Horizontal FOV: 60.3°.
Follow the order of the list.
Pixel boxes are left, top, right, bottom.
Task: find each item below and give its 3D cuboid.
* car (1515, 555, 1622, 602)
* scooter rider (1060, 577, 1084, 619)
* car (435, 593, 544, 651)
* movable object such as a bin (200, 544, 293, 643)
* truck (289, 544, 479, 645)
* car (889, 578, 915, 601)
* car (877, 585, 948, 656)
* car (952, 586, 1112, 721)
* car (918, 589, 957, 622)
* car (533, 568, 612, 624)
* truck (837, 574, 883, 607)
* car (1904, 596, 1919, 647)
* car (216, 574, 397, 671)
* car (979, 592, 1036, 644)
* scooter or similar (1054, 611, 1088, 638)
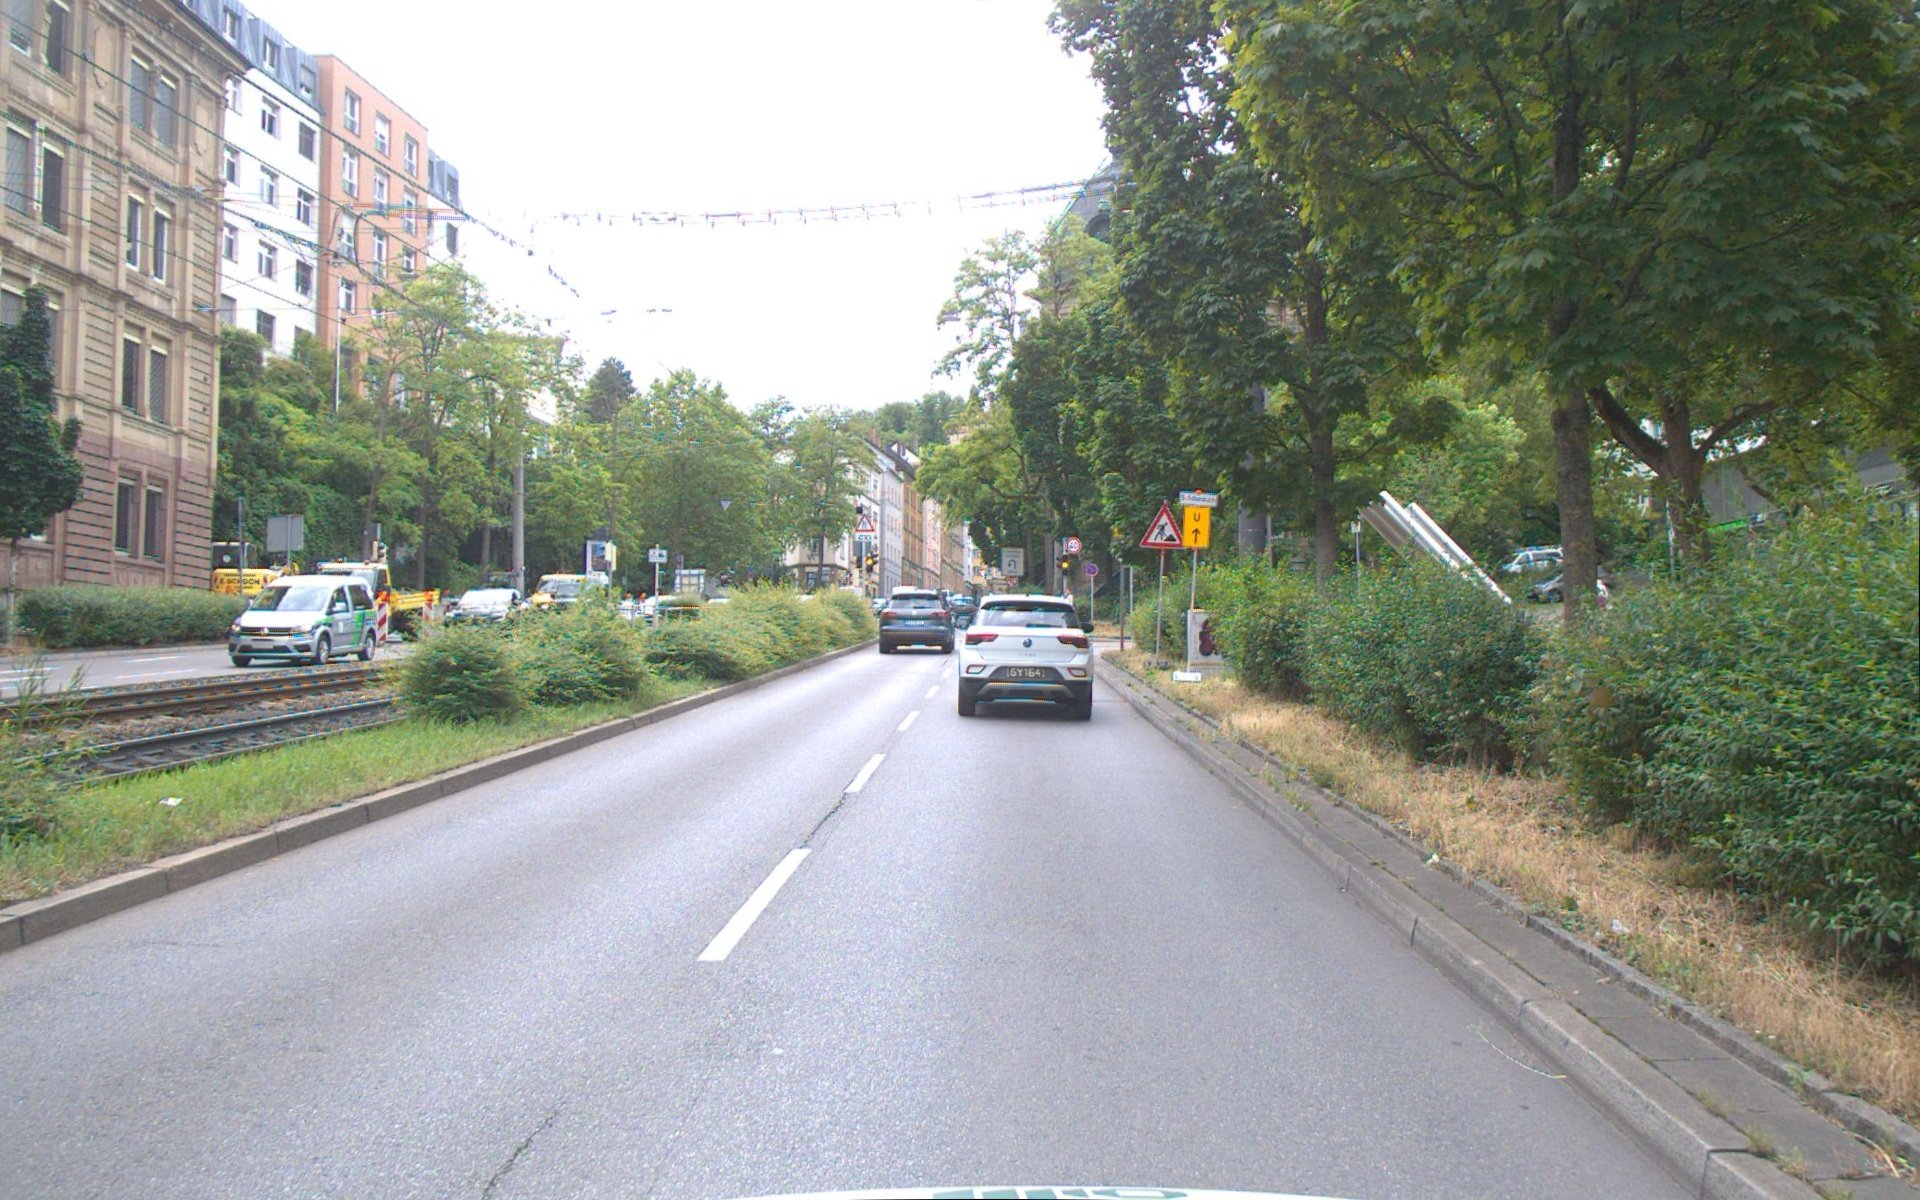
[{"bbox_3d":[27.416,-0.962,74.592,4.049,2.049,1.998,-1,0,-5],"label":"car"},{"bbox_3d":[4.269,-0.086,63.046,0.764,1.585,0.530,-1,0,-15],"label":"scooter rider"},{"bbox_3d":[-13.604,0.649,48.093,1.826,1.582,4.437,1,-1,0],"label":"car"},{"bbox_3d":[-21.370,-0.180,49.620,1.954,2.888,2.028,0,-1,-4],"label":"movable object such as a bin"},{"bbox_3d":[-17.100,-0.065,49.708,2.857,2.554,7.154,3,-3,2],"label":"truck"},{"bbox_3d":[-5.173,-0.916,148.066,1.952,2.049,4.001,-1,0,2],"label":"car"},{"bbox_3d":[-1.242,0.516,44.555,1.802,1.770,4.000,1,1,0],"label":"car"},{"bbox_3d":[0.889,0.685,22.544,1.899,1.594,4.045,3,-1,-1],"label":"car"},{"bbox_3d":[-1.657,0.406,123.341,2.372,2.207,6.036,4,1,3],"label":"car"},{"bbox_3d":[-14.099,-0.109,60.459,1.861,1.909,4.640,2,-1,-2],"label":"car"},{"bbox_3d":[-7.433,-0.747,123.840,2.371,2.206,6.039,3,2,6],"label":"truck"},{"bbox_3d":[26.197,0.569,41.766,1.594,1.301,3.890,4,-3,-25],"label":"car"},{"bbox_3d":[-13.303,0.438,33.974,1.840,1.819,4.517,-1,0,1],"label":"car"},{"bbox_3d":[1.694,0.670,60.081,1.952,1.652,3.999,-1,-4,0],"label":"car"},{"bbox_3d":[4.222,0.916,63.032,1.167,1.011,0.529,-1,0,-15],"label":"scooter or similar"}]
